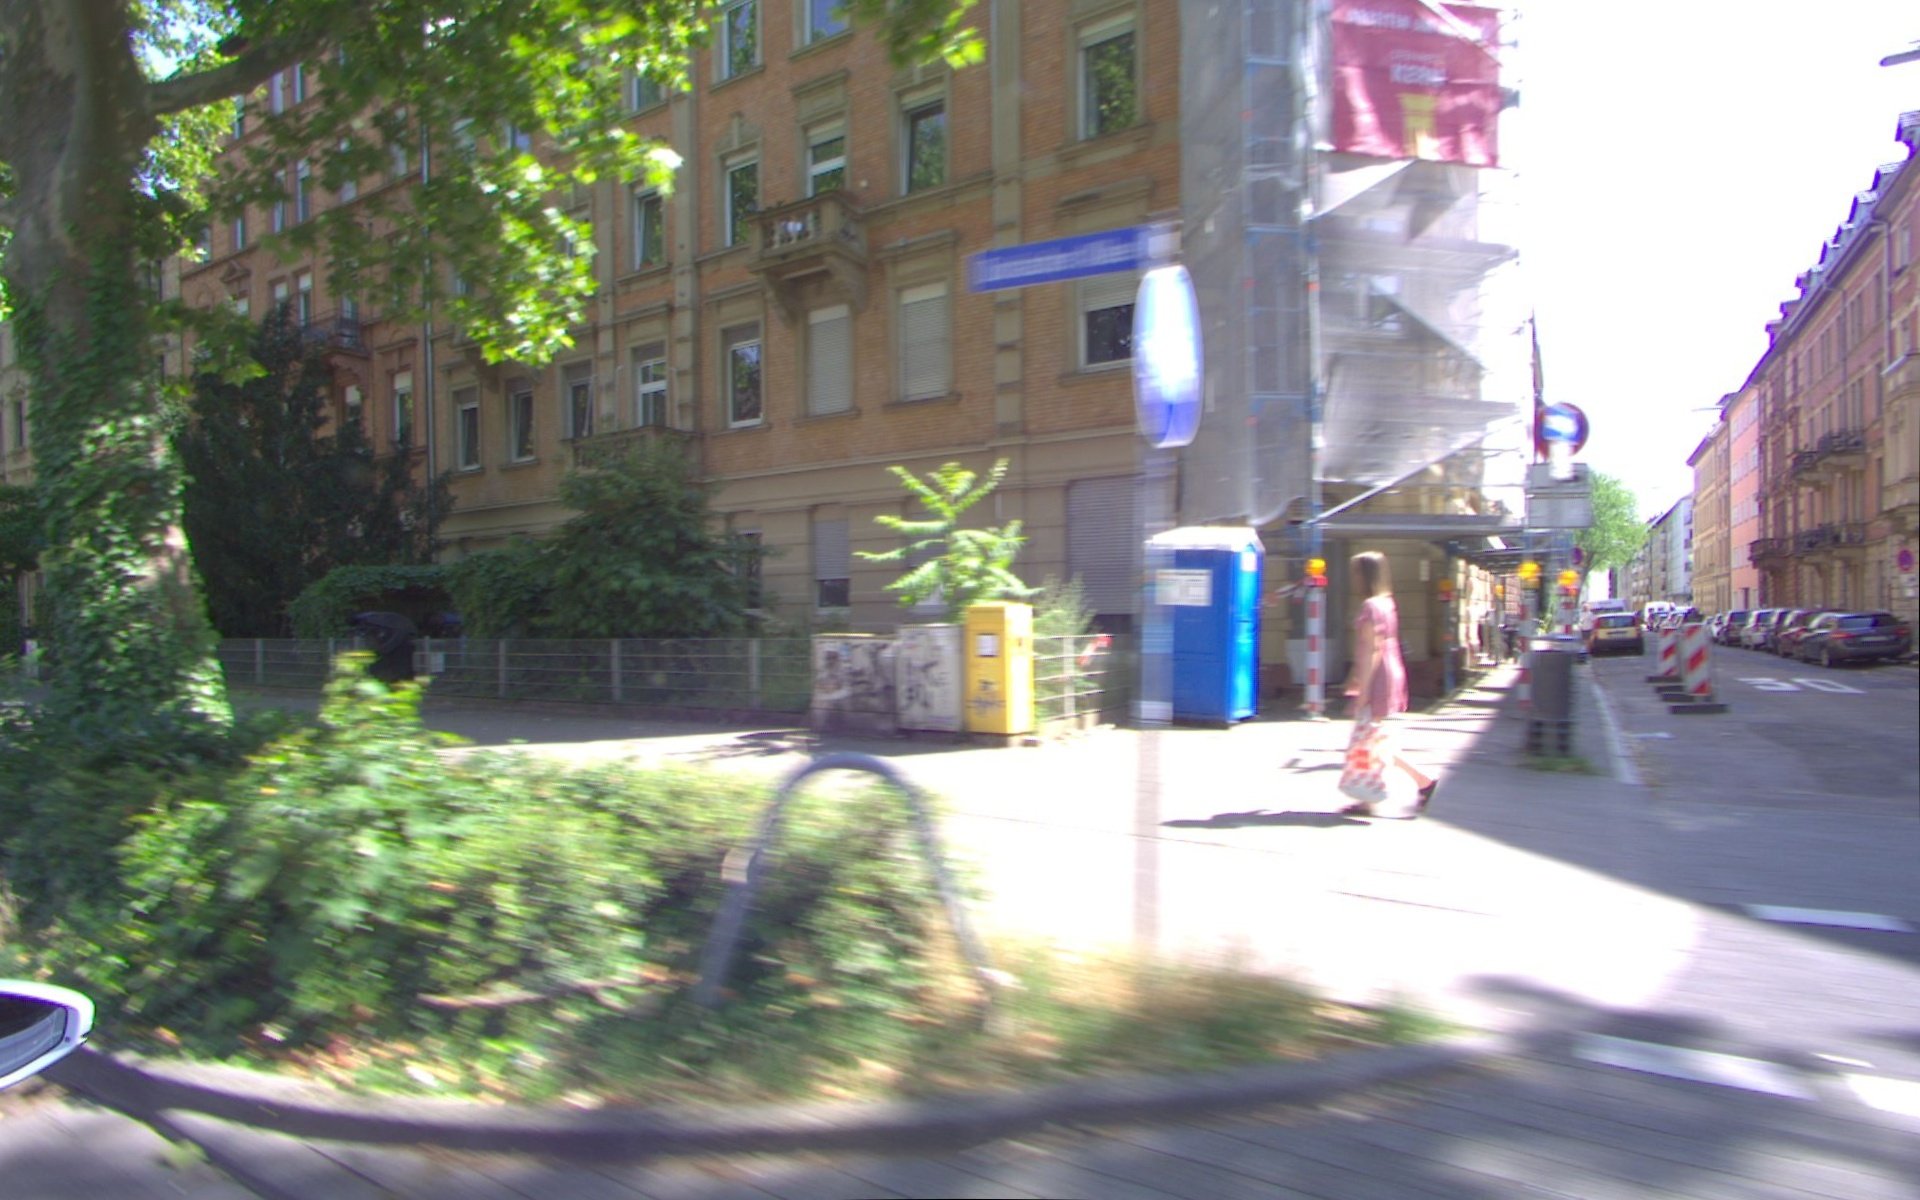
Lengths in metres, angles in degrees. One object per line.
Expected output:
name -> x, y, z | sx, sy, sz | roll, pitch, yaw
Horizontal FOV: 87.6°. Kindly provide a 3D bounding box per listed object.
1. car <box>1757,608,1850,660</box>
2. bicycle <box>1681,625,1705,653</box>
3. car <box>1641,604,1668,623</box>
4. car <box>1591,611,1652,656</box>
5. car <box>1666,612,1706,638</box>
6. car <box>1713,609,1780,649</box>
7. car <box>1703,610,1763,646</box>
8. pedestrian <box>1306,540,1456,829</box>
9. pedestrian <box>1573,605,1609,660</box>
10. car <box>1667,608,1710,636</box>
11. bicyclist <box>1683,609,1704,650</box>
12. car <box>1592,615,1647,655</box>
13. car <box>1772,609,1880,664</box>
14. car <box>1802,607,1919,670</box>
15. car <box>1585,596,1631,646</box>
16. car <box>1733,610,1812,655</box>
car -> 30.362, 1.178, 36.173 | 1.971, 1.761, 3.980 | -1, -1, 32
bicycle -> 29.255, 1.556, 39.972 | 0.525, 1.062, 1.917 | -1, -1, 30
car -> 68.216, 1.317, 98.363 | 1.971, 1.761, 3.980 | -1, -1, 32
car -> 24.217, 1.190, 36.750 | 1.703, 1.549, 3.478 | -1, -1, 31
car -> 50.634, 1.745, 69.909 | 1.971, 1.761, 3.980 | -1, -1, 32
car -> 36.447, 1.309, 46.494 | 1.971, 1.761, 3.980 | -1, -1, 32
car -> 39.361, 1.414, 51.054 | 1.971, 1.761, 3.980 | -1, -1, 32
pedestrian -> 2.868, 0.540, 6.808 | 0.840, 1.808, 0.735 | 0, 0, 32
pedestrian -> 21.057, 1.080, 33.435 | 0.922, 1.822, 1.034 | -1, 0, 29
car -> 47.767, 1.455, 65.712 | 1.971, 1.761, 3.980 | -1, -1, 32
bicyclist -> 29.202, 1.170, 39.871 | 0.615, 1.644, 0.691 | -1, 0, 30
car -> 27.262, 1.426, 41.481 | 1.703, 1.549, 3.479 | -1, -1, 31
car -> 27.681, 1.124, 32.143 | 1.971, 1.661, 3.980 | -1, -1, 32
car -> 24.336, 0.991, 26.933 | 1.971, 1.572, 3.980 | -1, -1, 32
car -> 32.994, 1.068, 50.977 | 1.887, 2.404, 4.224 | -1, -1, 33
car -> 33.155, 1.301, 40.956 | 1.971, 1.761, 3.980 | -1, -1, 32
